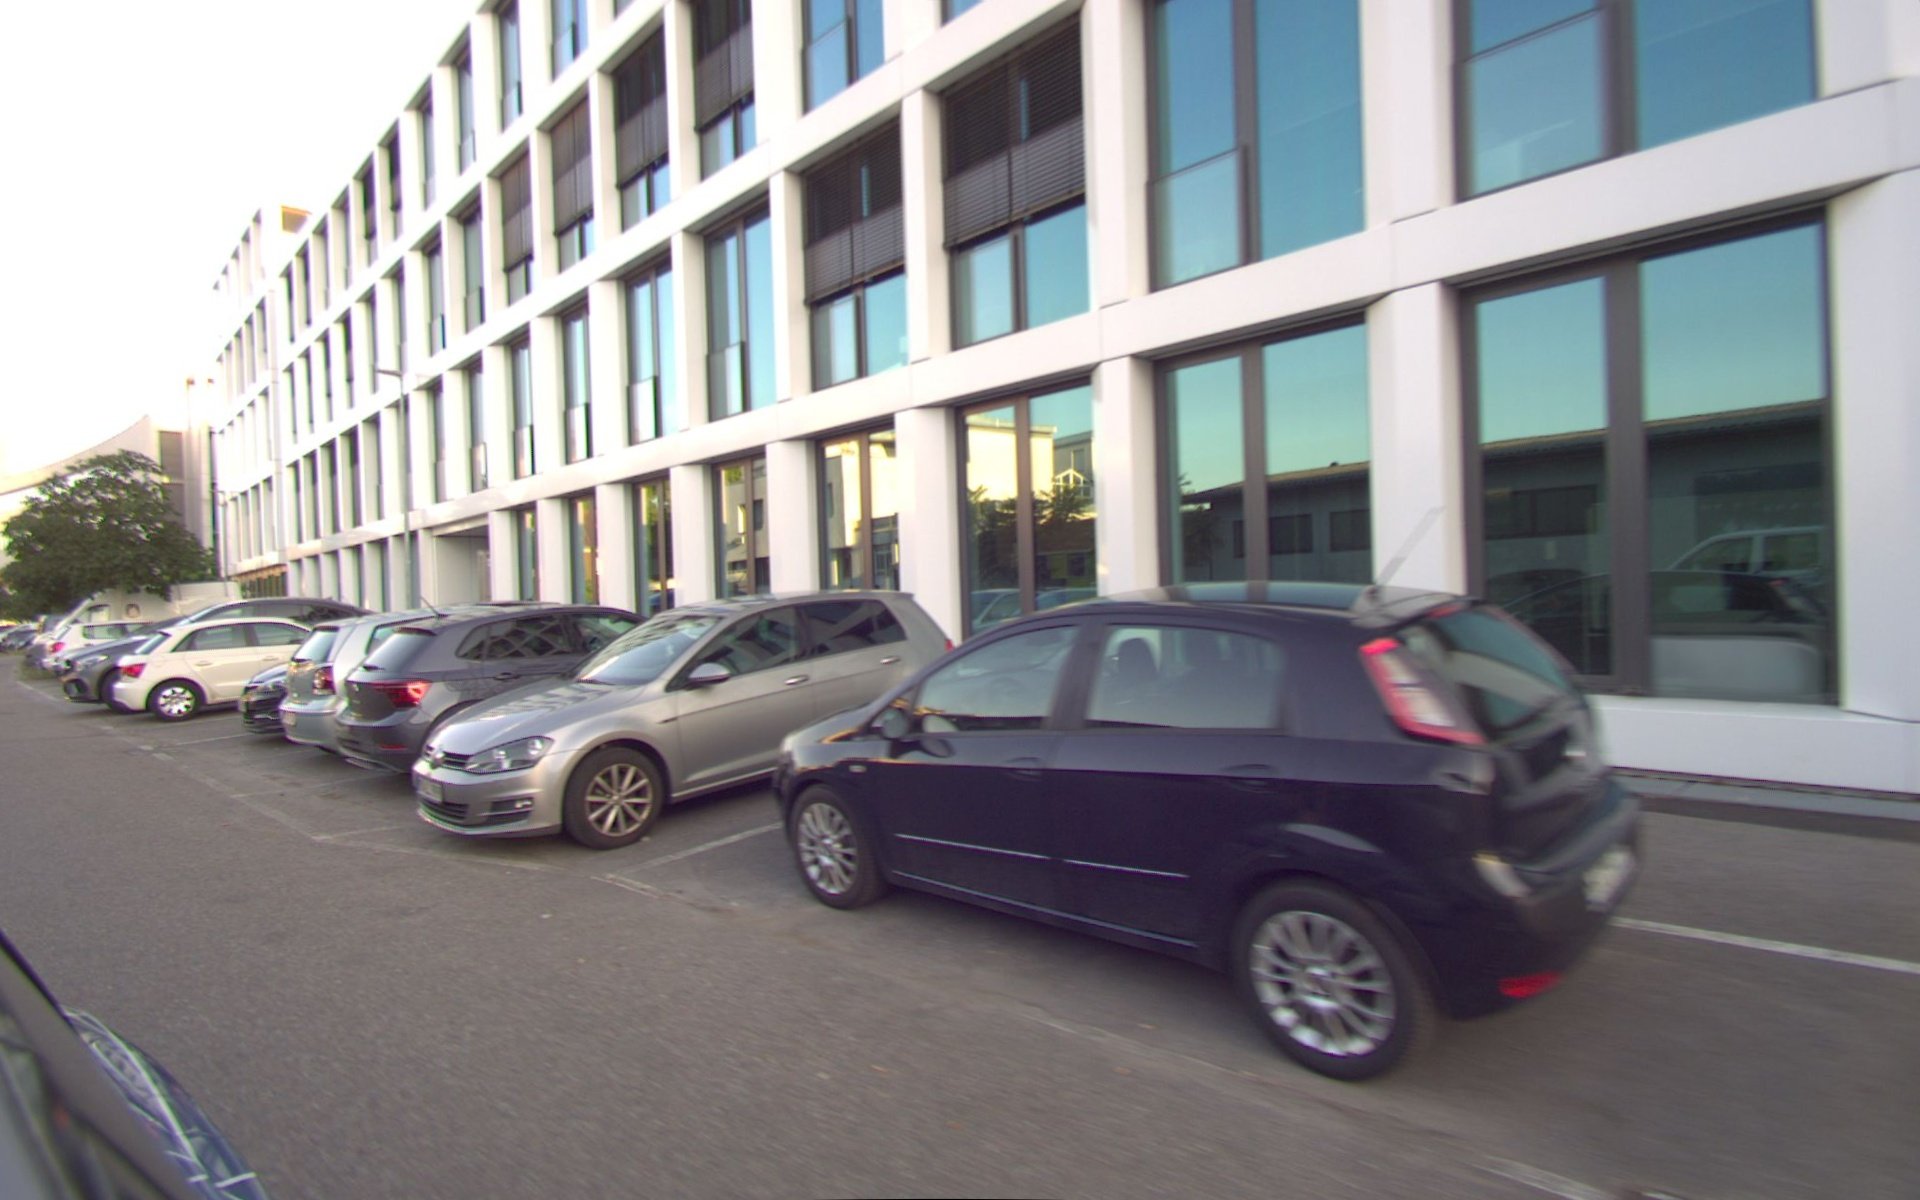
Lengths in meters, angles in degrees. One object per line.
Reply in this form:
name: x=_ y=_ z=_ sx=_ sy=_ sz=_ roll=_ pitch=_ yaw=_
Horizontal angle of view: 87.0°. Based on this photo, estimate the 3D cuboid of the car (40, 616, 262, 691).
car: x=-20.585 y=1.303 z=25.864 sx=4.258 sy=1.506 sz=1.796 roll=-4 pitch=1 yaw=-44

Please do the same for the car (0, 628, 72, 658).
car: x=-67.828 y=3.124 z=73.290 sx=1.887 sy=1.841 sz=5.021 roll=-2 pitch=2 yaw=38

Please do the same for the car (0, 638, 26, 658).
car: x=-73.984 y=3.776 z=77.204 sx=1.797 sy=1.370 sz=3.765 roll=-2 pitch=2 yaw=38

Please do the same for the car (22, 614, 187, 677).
car: x=-29.362 y=1.515 z=34.823 sx=1.815 sy=1.830 sz=4.066 roll=-3 pitch=1 yaw=41

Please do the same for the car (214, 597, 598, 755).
car: x=-6.933 y=0.836 z=12.904 sx=3.918 sy=1.522 sz=1.797 roll=-4 pitch=1 yaw=-44

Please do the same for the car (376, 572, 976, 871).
car: x=-1.878 y=0.650 z=7.478 sx=3.881 sy=1.522 sz=1.689 roll=-4 pitch=1 yaw=-44

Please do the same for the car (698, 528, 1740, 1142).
car: x=0.713 y=0.587 z=4.524 sx=4.203 sy=1.449 sz=1.630 roll=-2 pitch=4 yaw=45

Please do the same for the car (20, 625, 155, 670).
car: x=-36.452 y=1.961 z=42.336 sx=1.845 sy=1.530 sz=4.063 roll=-3 pitch=1 yaw=43

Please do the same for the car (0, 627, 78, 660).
car: x=-64.304 y=3.005 z=69.697 sx=1.887 sy=1.895 sz=5.021 roll=-2 pitch=2 yaw=38

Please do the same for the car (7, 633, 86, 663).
car: x=-58.292 y=3.039 z=64.607 sx=1.726 sy=1.559 sz=3.605 roll=-2 pitch=2 yaw=44

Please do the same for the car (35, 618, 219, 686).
car: x=-22.567 y=1.372 z=27.491 sx=1.708 sy=1.506 sz=3.666 roll=-3 pitch=1 yaw=45

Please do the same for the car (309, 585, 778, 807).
car: x=-3.720 y=0.725 z=9.418 sx=3.613 sy=1.522 sz=1.688 roll=-4 pitch=1 yaw=-45

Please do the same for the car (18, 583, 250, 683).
car: x=-25.422 y=0.928 z=31.291 sx=5.319 sy=2.652 sz=2.080 roll=-4 pitch=1 yaw=-44

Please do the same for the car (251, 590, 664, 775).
car: x=-5.311 y=0.754 z=10.969 sx=3.613 sy=1.522 sz=1.688 roll=-4 pitch=1 yaw=-45

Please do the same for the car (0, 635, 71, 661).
car: x=-62.260 y=3.211 z=68.018 sx=1.726 sy=1.435 sz=3.607 roll=-2 pitch=2 yaw=43

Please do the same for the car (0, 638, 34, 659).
car: x=-71.942 y=3.708 z=75.642 sx=1.797 sy=1.370 sz=3.765 roll=-2 pitch=2 yaw=38

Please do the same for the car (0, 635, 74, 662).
car: x=-60.409 y=3.142 z=66.124 sx=1.726 sy=1.435 sz=3.605 roll=-2 pitch=2 yaw=44

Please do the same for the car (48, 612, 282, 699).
car: x=-17.191 y=1.142 z=22.005 sx=1.694 sy=1.533 sz=3.740 roll=-3 pitch=1 yaw=43

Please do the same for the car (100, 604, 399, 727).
car: x=-11.064 y=0.938 z=15.873 sx=3.622 sy=1.522 sz=1.698 roll=-4 pitch=1 yaw=-42

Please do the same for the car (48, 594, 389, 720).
car: x=-12.843 y=0.889 z=17.743 sx=4.563 sy=1.719 sz=2.007 roll=-4 pitch=1 yaw=-42
